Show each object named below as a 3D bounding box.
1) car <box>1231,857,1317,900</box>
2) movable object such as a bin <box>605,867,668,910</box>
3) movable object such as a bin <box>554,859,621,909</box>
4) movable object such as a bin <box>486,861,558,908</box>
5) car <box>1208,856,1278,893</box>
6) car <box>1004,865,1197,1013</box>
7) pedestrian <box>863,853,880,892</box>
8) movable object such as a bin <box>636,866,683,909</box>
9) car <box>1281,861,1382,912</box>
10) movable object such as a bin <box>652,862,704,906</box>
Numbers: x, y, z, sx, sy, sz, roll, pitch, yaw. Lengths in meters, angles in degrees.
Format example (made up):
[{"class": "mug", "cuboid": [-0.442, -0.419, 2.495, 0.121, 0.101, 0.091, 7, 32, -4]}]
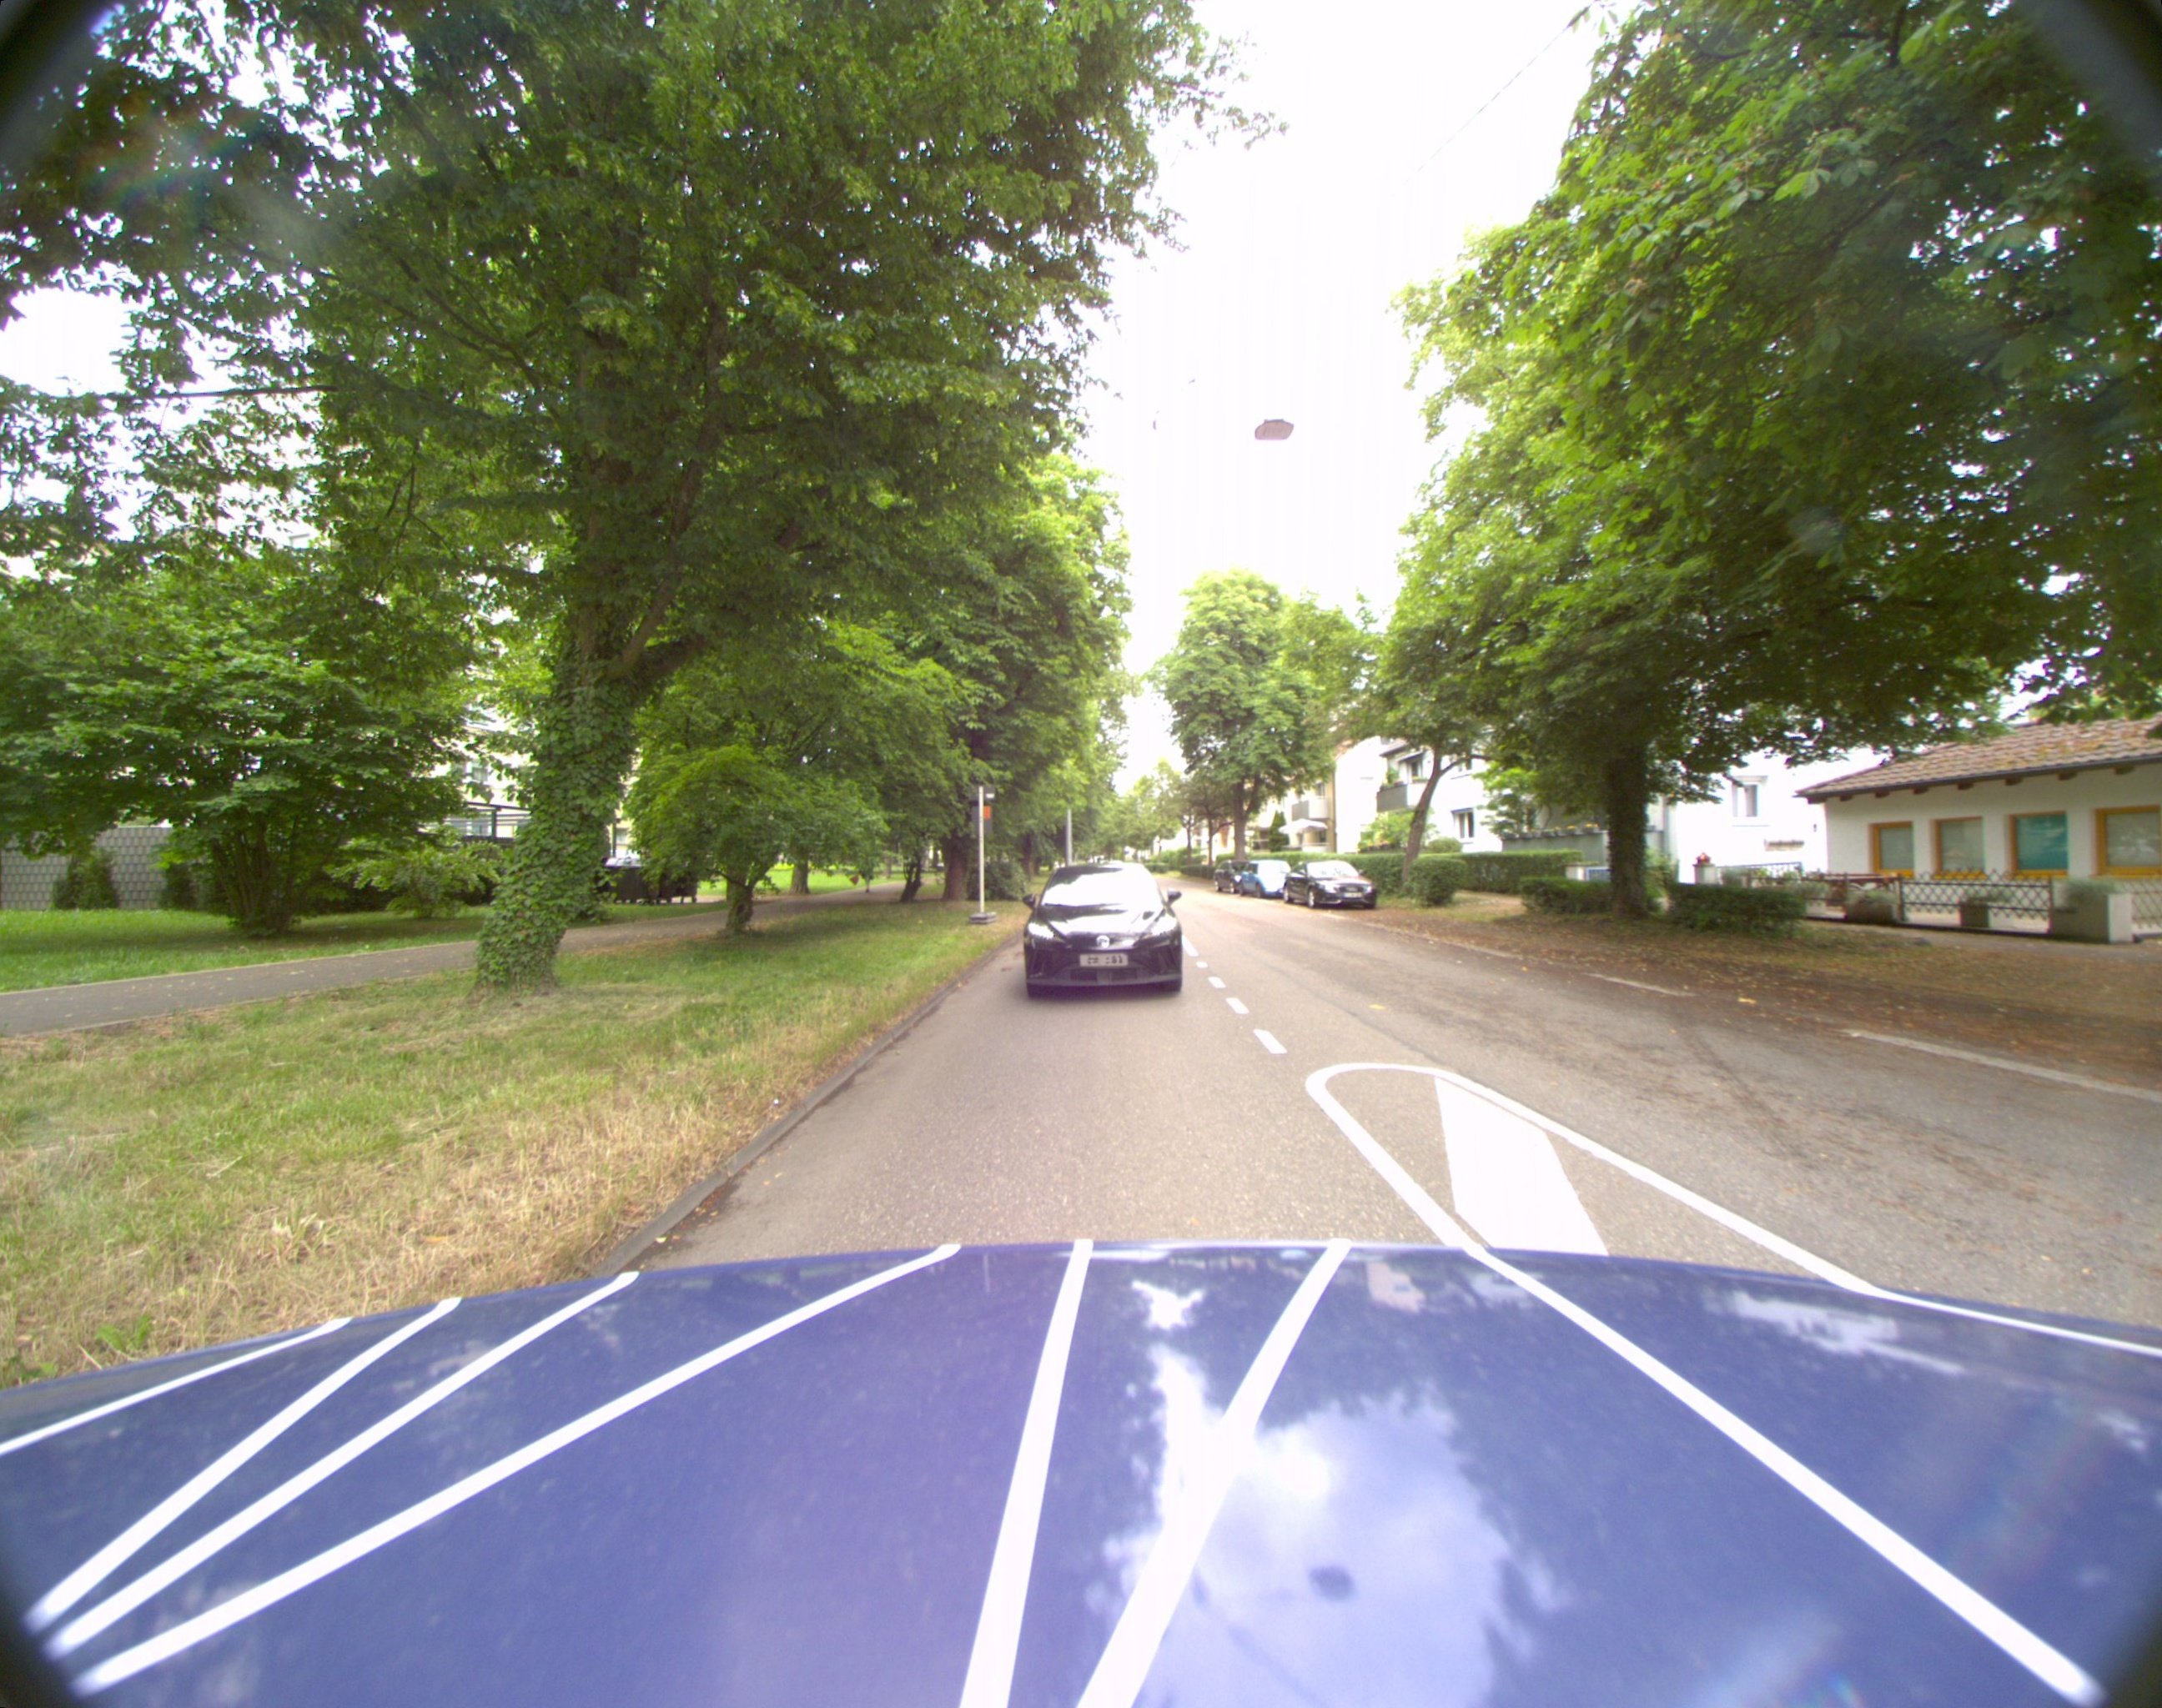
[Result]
[{"class": "car", "cuboid": [7.207, 0.870, 28.912, 1.889, 1.492, 4.565, 0, 0, -3]}, {"class": "movable object such as a bin", "cuboid": [-13.255, 1.018, 22.694, 1.194, 1.213, 1.348, 0, 0, -8]}, {"class": "movable object such as a bin", "cuboid": [-14.572, 0.861, 22.502, 1.194, 1.448, 1.348, 0, 0, -8]}, {"class": "movable object such as a bin", "cuboid": [-16.513, 0.885, 22.499, 1.194, 1.334, 1.348, 0, 0, -8]}, {"class": "car", "cuboid": [7.077, 0.872, 33.666, 1.889, 1.524, 4.565, 0, 0, -3]}, {"class": "car", "cuboid": [0.228, 0.913, 10.188, 1.998, 1.491, 4.615, 0, 0, 1]}, {"class": "pedestrian", "cuboid": [-9.459, 0.828, 34.329, 0.565, 1.730, 0.570, 1, 0, 0]}, {"class": "movable object such as a bin", "cuboid": [-13.240, 1.036, 23.893, 1.026, 1.296, 0.960, 0, 0, -8]}, {"class": "car", "cuboid": [7.406, 0.906, 22.891, 1.735, 1.394, 4.172, 0, 0, 1]}, {"class": "movable object such as a bin", "cuboid": [-13.243, 0.976, 24.986, 1.194, 1.405, 1.110, 0, 0, -8]}]
